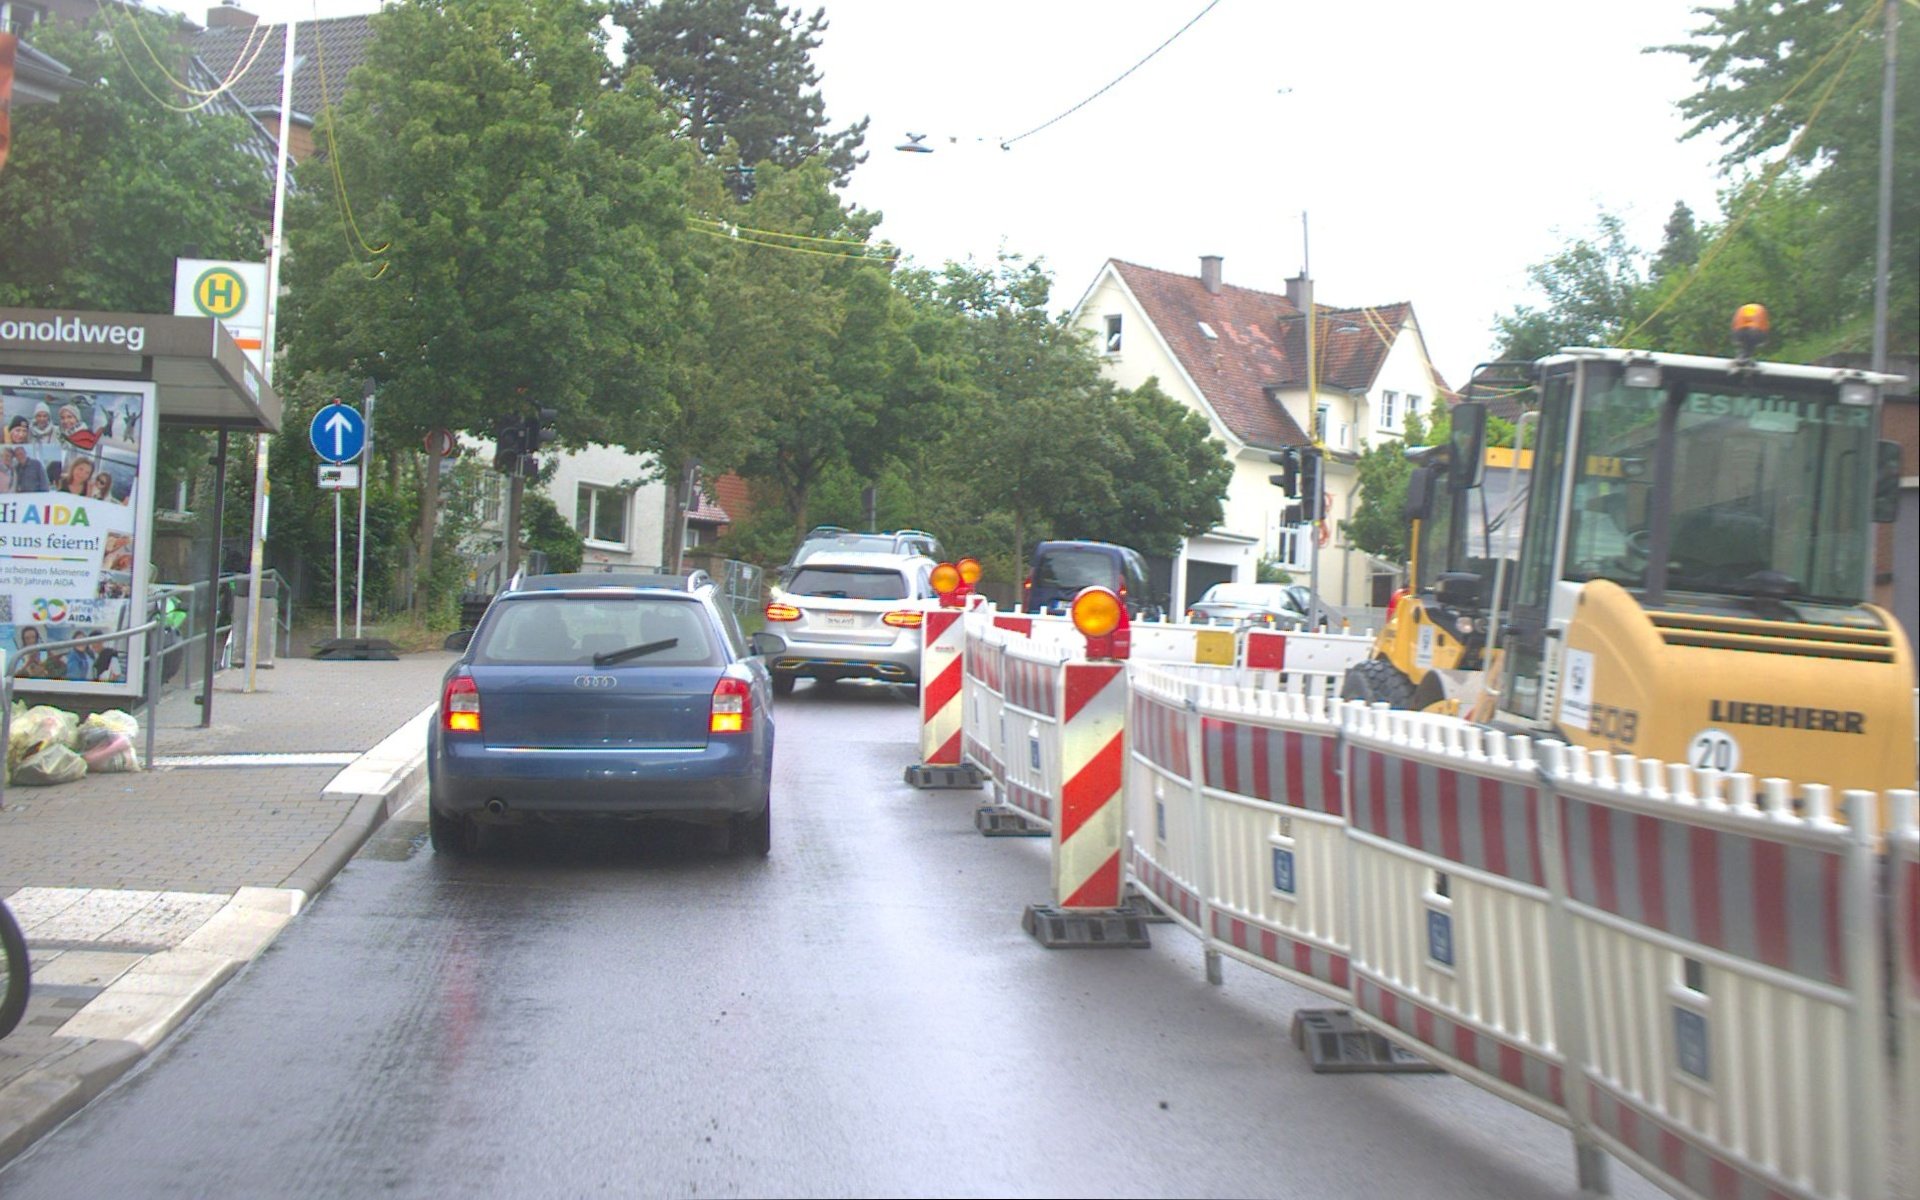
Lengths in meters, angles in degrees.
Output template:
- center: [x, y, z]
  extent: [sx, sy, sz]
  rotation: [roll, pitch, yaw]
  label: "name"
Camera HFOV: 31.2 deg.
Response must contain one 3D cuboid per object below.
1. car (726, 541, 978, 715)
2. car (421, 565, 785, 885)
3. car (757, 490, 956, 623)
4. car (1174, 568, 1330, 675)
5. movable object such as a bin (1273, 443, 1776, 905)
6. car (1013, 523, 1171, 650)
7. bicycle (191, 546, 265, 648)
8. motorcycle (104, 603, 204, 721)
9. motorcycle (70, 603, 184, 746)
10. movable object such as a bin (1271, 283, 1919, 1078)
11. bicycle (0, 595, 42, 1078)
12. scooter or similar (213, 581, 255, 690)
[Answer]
- center: [-1.040, 0.235, 35.544]
  extent: [1.976, 1.629, 4.234]
  rotation: [0, 2, 7]
  label: "car"
- center: [-1.871, 0.579, 18.471]
  extent: [1.733, 1.461, 4.001]
  rotation: [0, 2, -5]
  label: "car"
- center: [-1.513, -0.622, 52.604]
  extent: [1.898, 1.883, 5.150]
  rotation: [1, 0, 11]
  label: "car"
- center: [5.278, 0.390, 61.636]
  extent: [1.735, 1.763, 4.231]
  rotation: [3, 1, 19]
  label: "car"
- center: [3.815, 0.414, 24.462]
  extent: [2.086, 2.828, 5.678]
  rotation: [2, 1, -5]
  label: "movable object such as a bin"
- center: [1.982, -0.239, 50.561]
  extent: [1.734, 1.762, 4.233]
  rotation: [1, 2, 10]
  label: "car"
- center: [-9.701, -0.054, 45.614]
  extent: [0.490, 1.267, 2.273]
  rotation: [4, 1, -2]
  label: "bicycle"
- center: [-6.971, 0.521, 29.789]
  extent: [0.666, 0.930, 2.011]
  rotation: [1, 1, -8]
  label: "motorcycle"
- center: [-6.615, 0.571, 27.375]
  extent: [0.666, 1.032, 2.153]
  rotation: [1, 1, -8]
  label: "motorcycle"
- center: [2.966, 0.381, 15.315]
  extent: [2.086, 2.829, 5.677]
  rotation: [2, -2, -5]
  label: "movable object such as a bin"
- center: [-3.828, 0.648, 9.870]
  extent: [2.228, 1.357, 0.809]
  rotation: [1, 0, -11]
  label: "bicycle"
- center: [-7.398, 0.353, 35.044]
  extent: [0.323, 1.077, 1.096]
  rotation: [1, 1, -8]
  label: "scooter or similar"
